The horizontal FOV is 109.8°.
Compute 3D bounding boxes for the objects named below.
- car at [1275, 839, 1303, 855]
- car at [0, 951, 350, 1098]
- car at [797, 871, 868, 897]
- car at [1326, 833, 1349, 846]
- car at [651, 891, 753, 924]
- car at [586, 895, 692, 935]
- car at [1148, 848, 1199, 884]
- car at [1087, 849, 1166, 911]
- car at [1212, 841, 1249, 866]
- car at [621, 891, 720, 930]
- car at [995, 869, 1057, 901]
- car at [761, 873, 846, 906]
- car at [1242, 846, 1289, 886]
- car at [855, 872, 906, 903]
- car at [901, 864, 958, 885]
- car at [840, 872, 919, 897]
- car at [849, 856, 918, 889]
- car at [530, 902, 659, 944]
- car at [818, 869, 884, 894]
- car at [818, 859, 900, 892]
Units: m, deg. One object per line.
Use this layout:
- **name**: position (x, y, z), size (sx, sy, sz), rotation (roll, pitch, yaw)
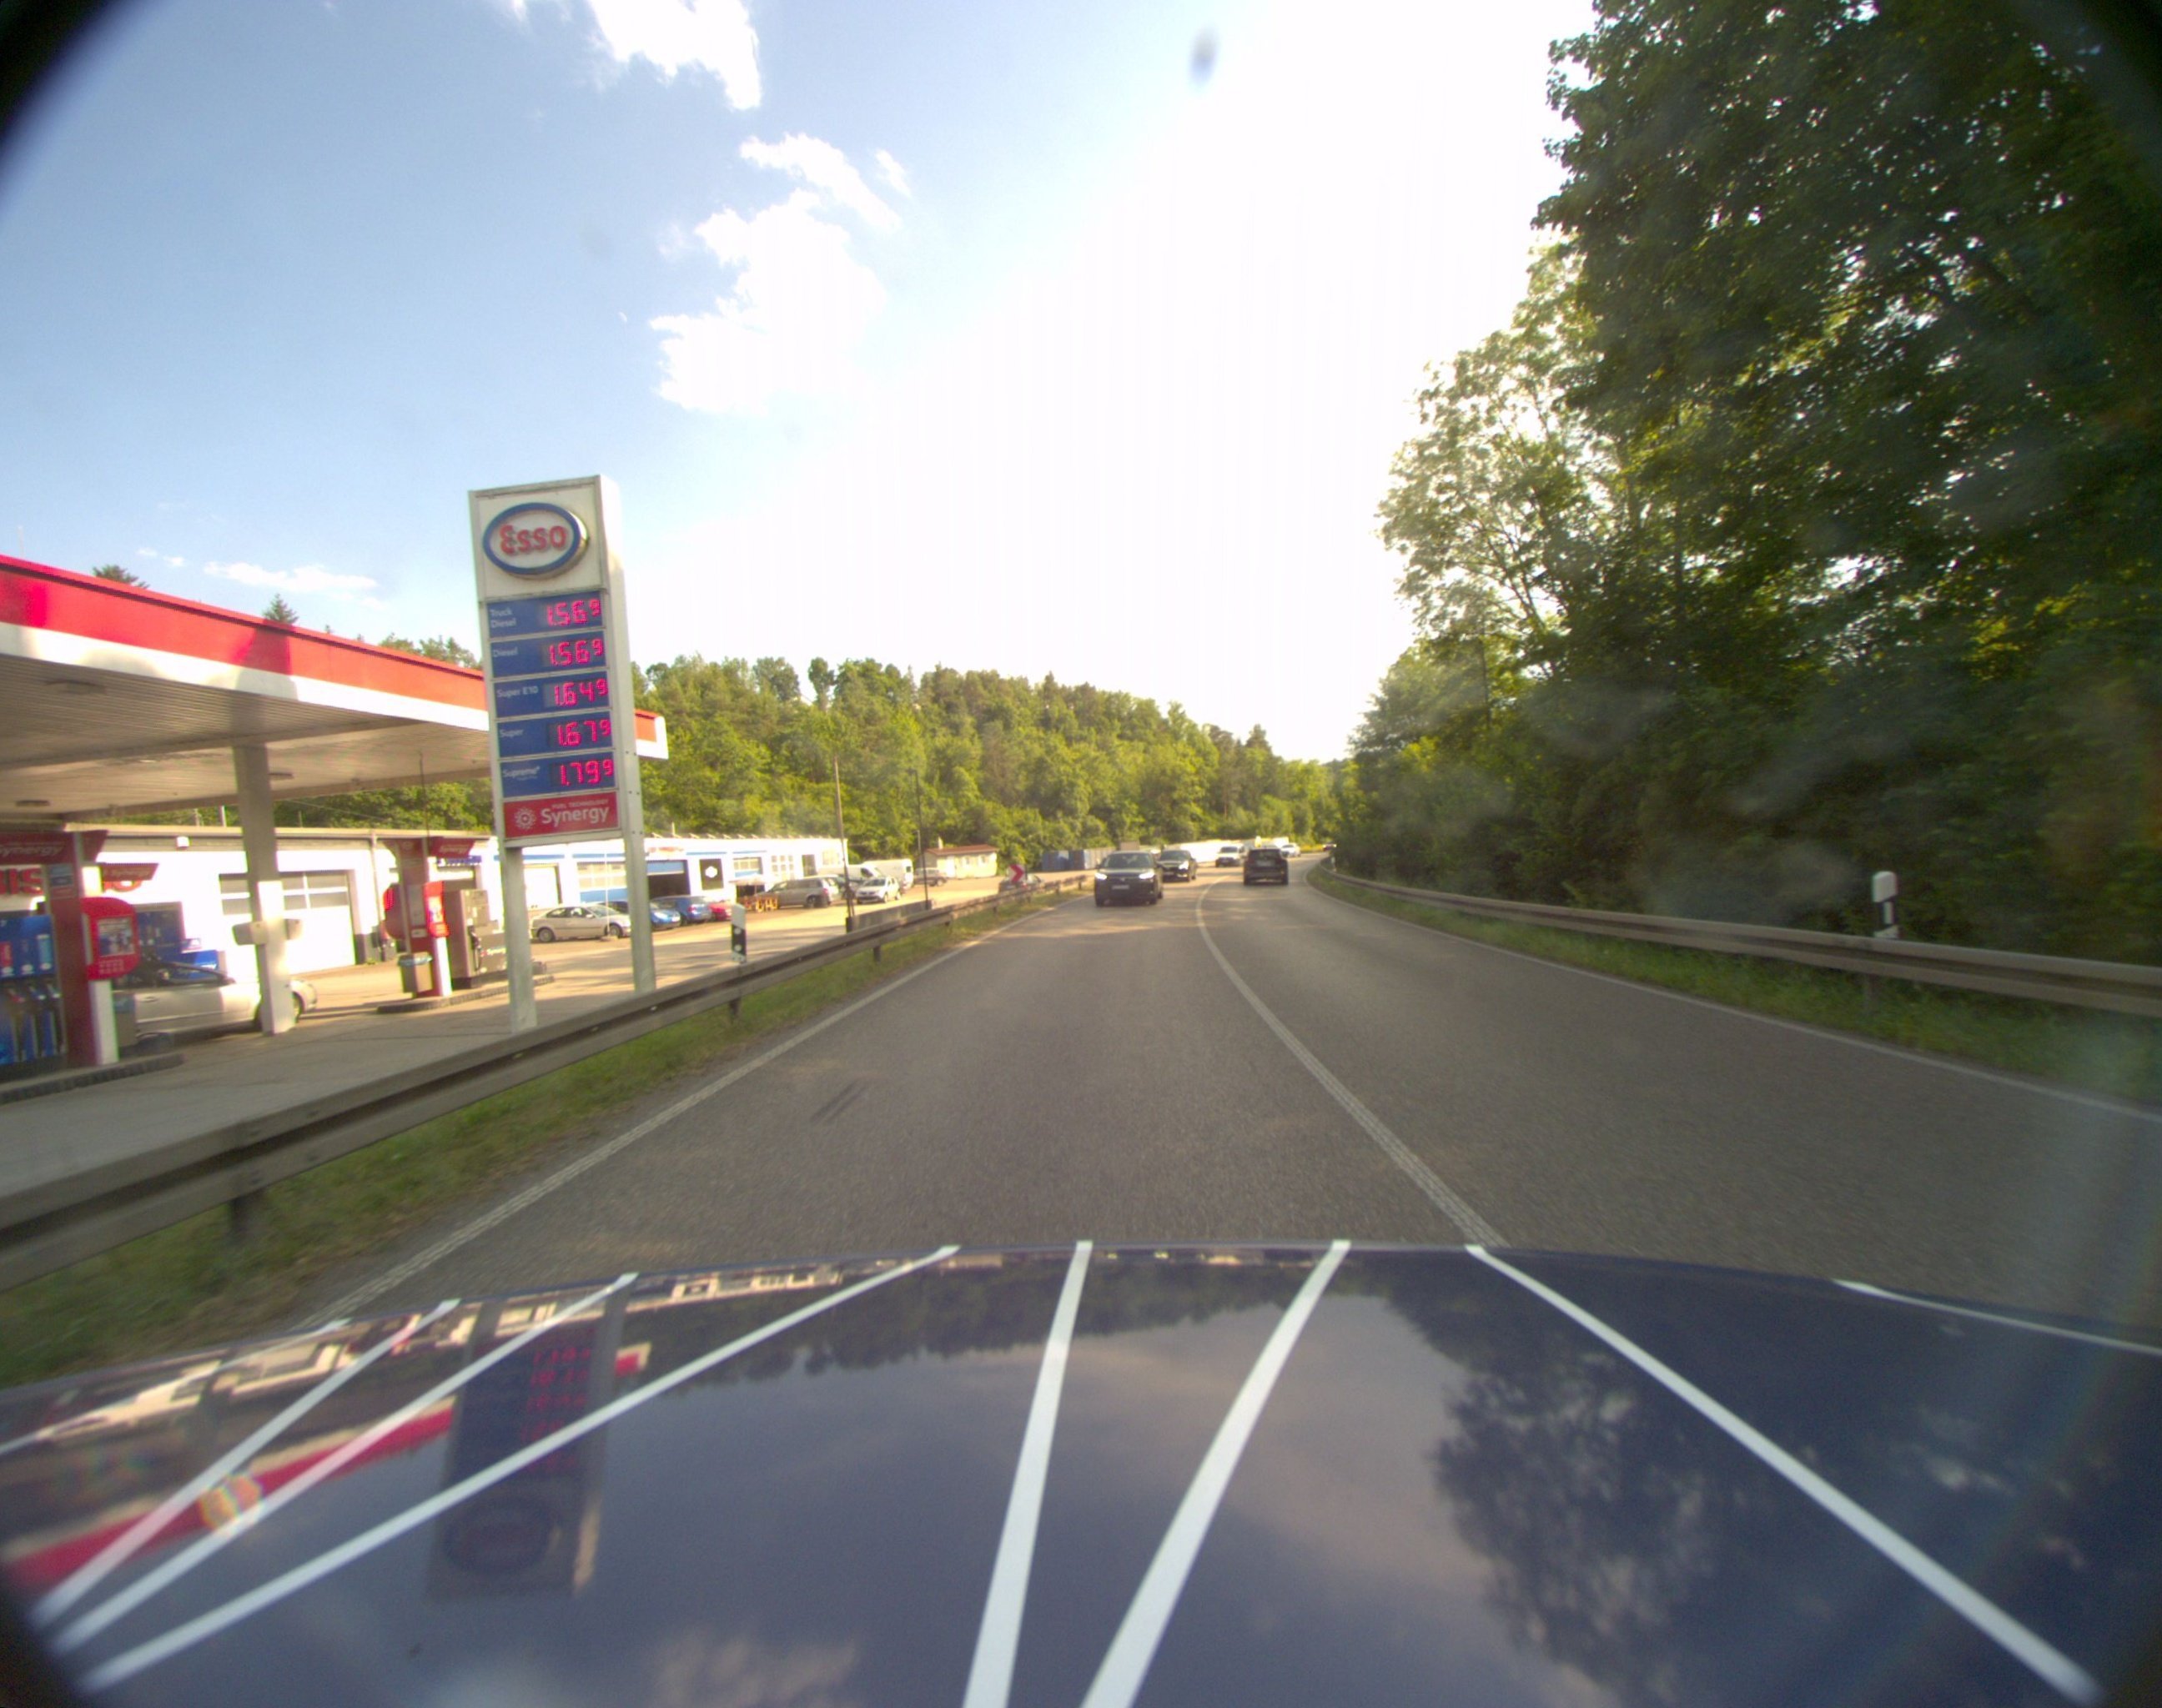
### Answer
- **car**: position (22.266, -0.749, 81.155), size (1.893, 1.437, 4.482), rotation (-5, 0, 28)
- **car**: position (-14.630, 2.517, 11.856), size (1.846, 1.311, 4.391), rotation (-4, 0, 7)
- **car**: position (-17.487, 2.098, 53.615), size (4.249, 1.601, 1.895), rotation (-3, 1, 6)
- **car**: position (34.025, -1.963, 100.840), size (1.856, 1.412, 4.426), rotation (-5, 0, 32)
- **car**: position (-18.567, 2.598, 37.315), size (4.075, 1.340, 1.895), rotation (-2, 1, 6)
- **car**: position (-19.152, 2.640, 32.996), size (3.557, 1.398, 1.691), rotation (-4, 1, 6)
- **car**: position (4.667, 0.536, 37.817), size (1.846, 1.561, 4.261), rotation (-2, 1, 16)
- **car**: position (1.515, 0.719, 23.592), size (1.858, 1.631, 4.444), rotation (-1, 1, 11)
- **car**: position (11.733, -0.031, 59.360), size (1.865, 1.710, 4.770), rotation (-3, 0, 22)
- **car**: position (-18.986, 2.614, 35.220), size (3.551, 1.437, 1.734), rotation (-4, 1, 6)
- **car**: position (-2.854, 1.597, 40.307), size (1.826, 1.345, 4.276), rotation (-3, 0, 16)
- **car**: position (-16.414, 2.108, 45.115), size (4.257, 1.719, 1.892), rotation (-2, 1, 3)
- **car**: position (8.202, 0.494, 34.082), size (1.870, 1.643, 4.553), rotation (-1, 0, 12)
- **car**: position (-12.146, 2.019, 46.284), size (1.794, 1.587, 3.989), rotation (-2, 1, 2)
- **car**: position (-13.252, 1.774, 66.474), size (4.412, 1.660, 1.938), rotation (-2, -1, -35)
- **car**: position (-13.546, 2.034, 51.230), size (4.730, 1.425, 1.958), rotation (-2, 1, 4)
- **car**: position (-16.075, 1.501, 62.088), size (4.918, 2.435, 2.208), rotation (-2, 1, 4)
- **car**: position (-19.405, 2.730, 30.422), size (3.966, 1.347, 1.777), rotation (-3, 1, 2)
- **car**: position (-16.941, 2.007, 56.031), size (4.167, 1.601, 1.925), rotation (-2, 1, 6)
- **car**: position (-16.988, 1.648, 58.349), size (5.485, 2.261, 2.296), rotation (-2, 1, 6)
